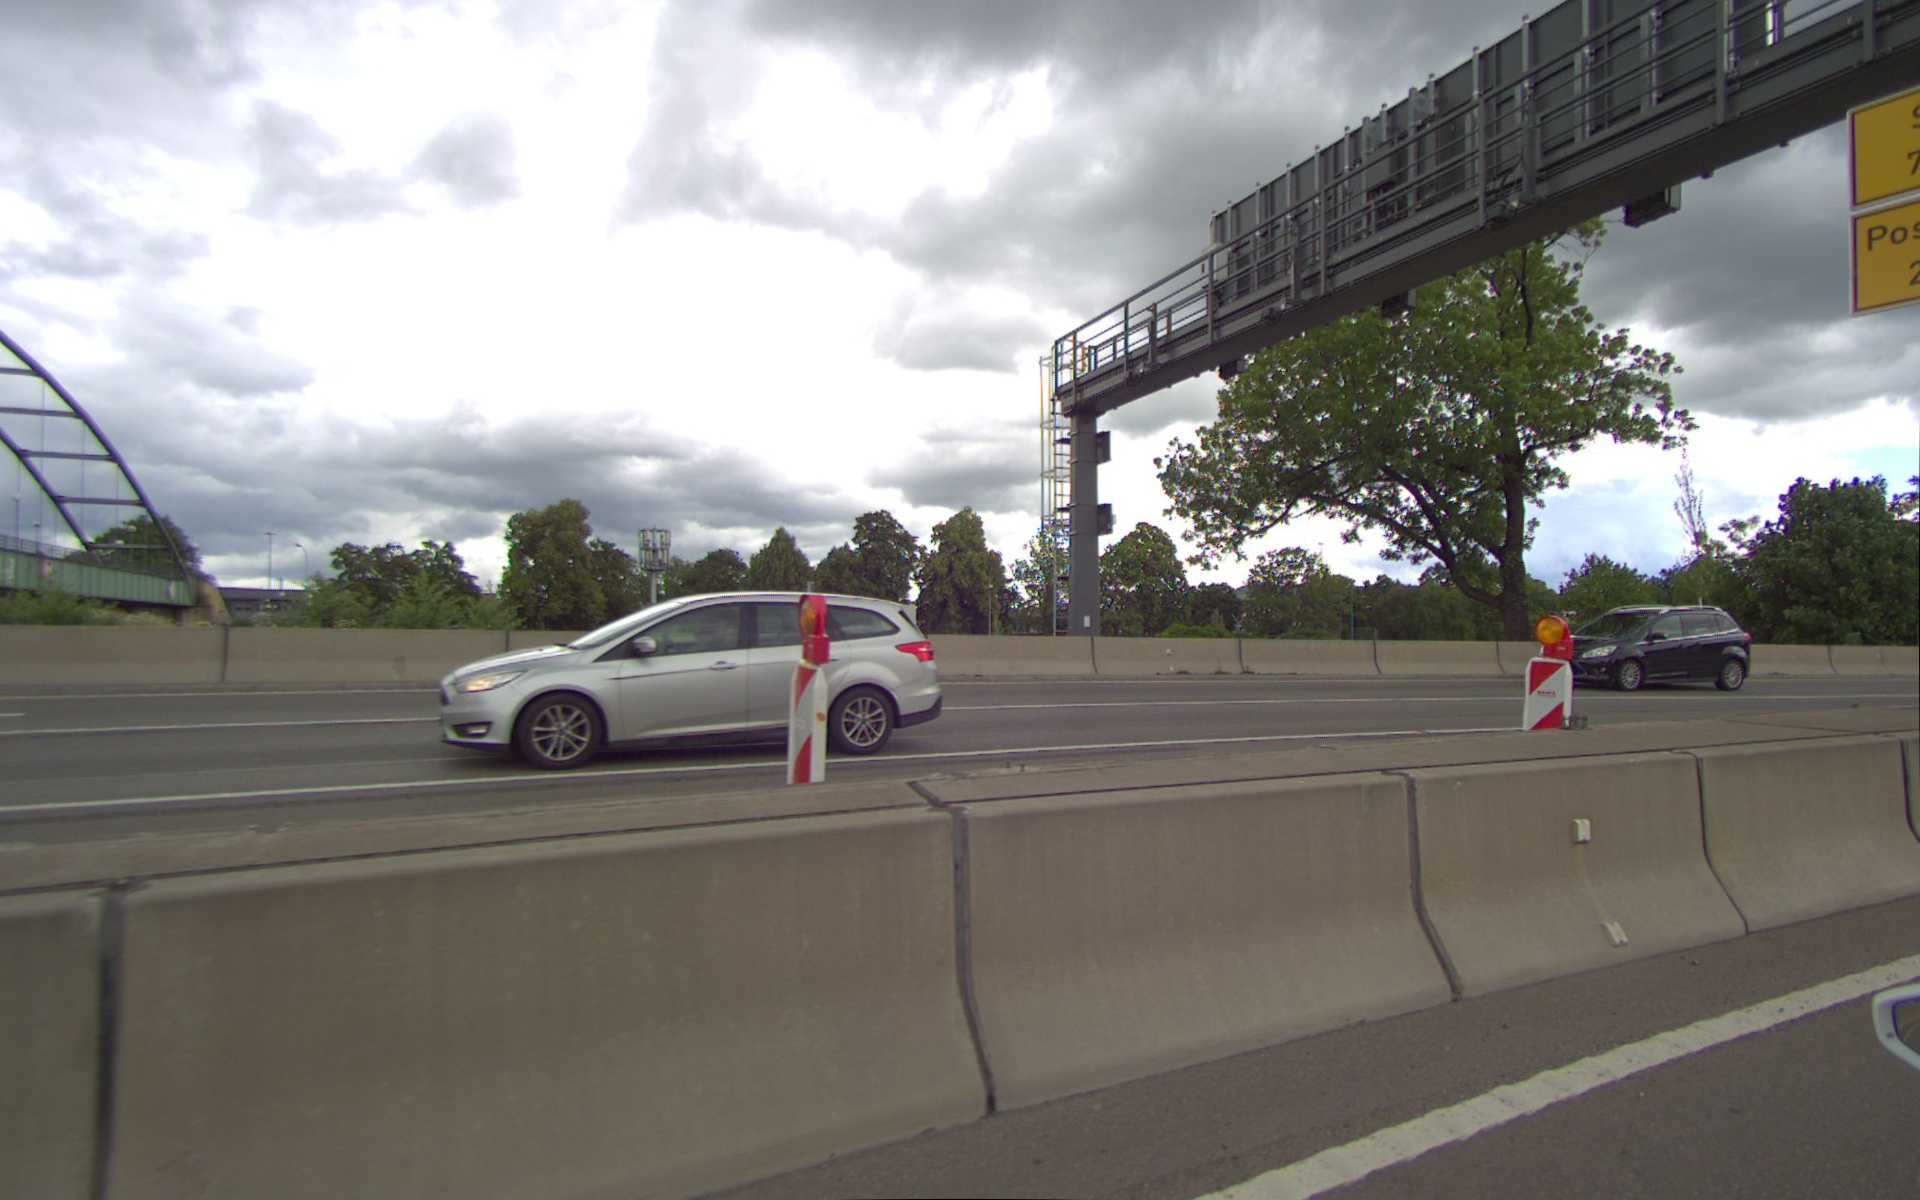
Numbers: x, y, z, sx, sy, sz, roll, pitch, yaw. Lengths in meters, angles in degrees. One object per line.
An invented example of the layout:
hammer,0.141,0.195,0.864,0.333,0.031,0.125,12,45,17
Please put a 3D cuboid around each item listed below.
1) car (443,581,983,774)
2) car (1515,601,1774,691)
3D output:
car,-2.227,0.623,9.382,4.591,1.440,1.787,1,0,-28
car,14.138,0.929,20.776,4.653,1.694,1.992,1,0,-18
